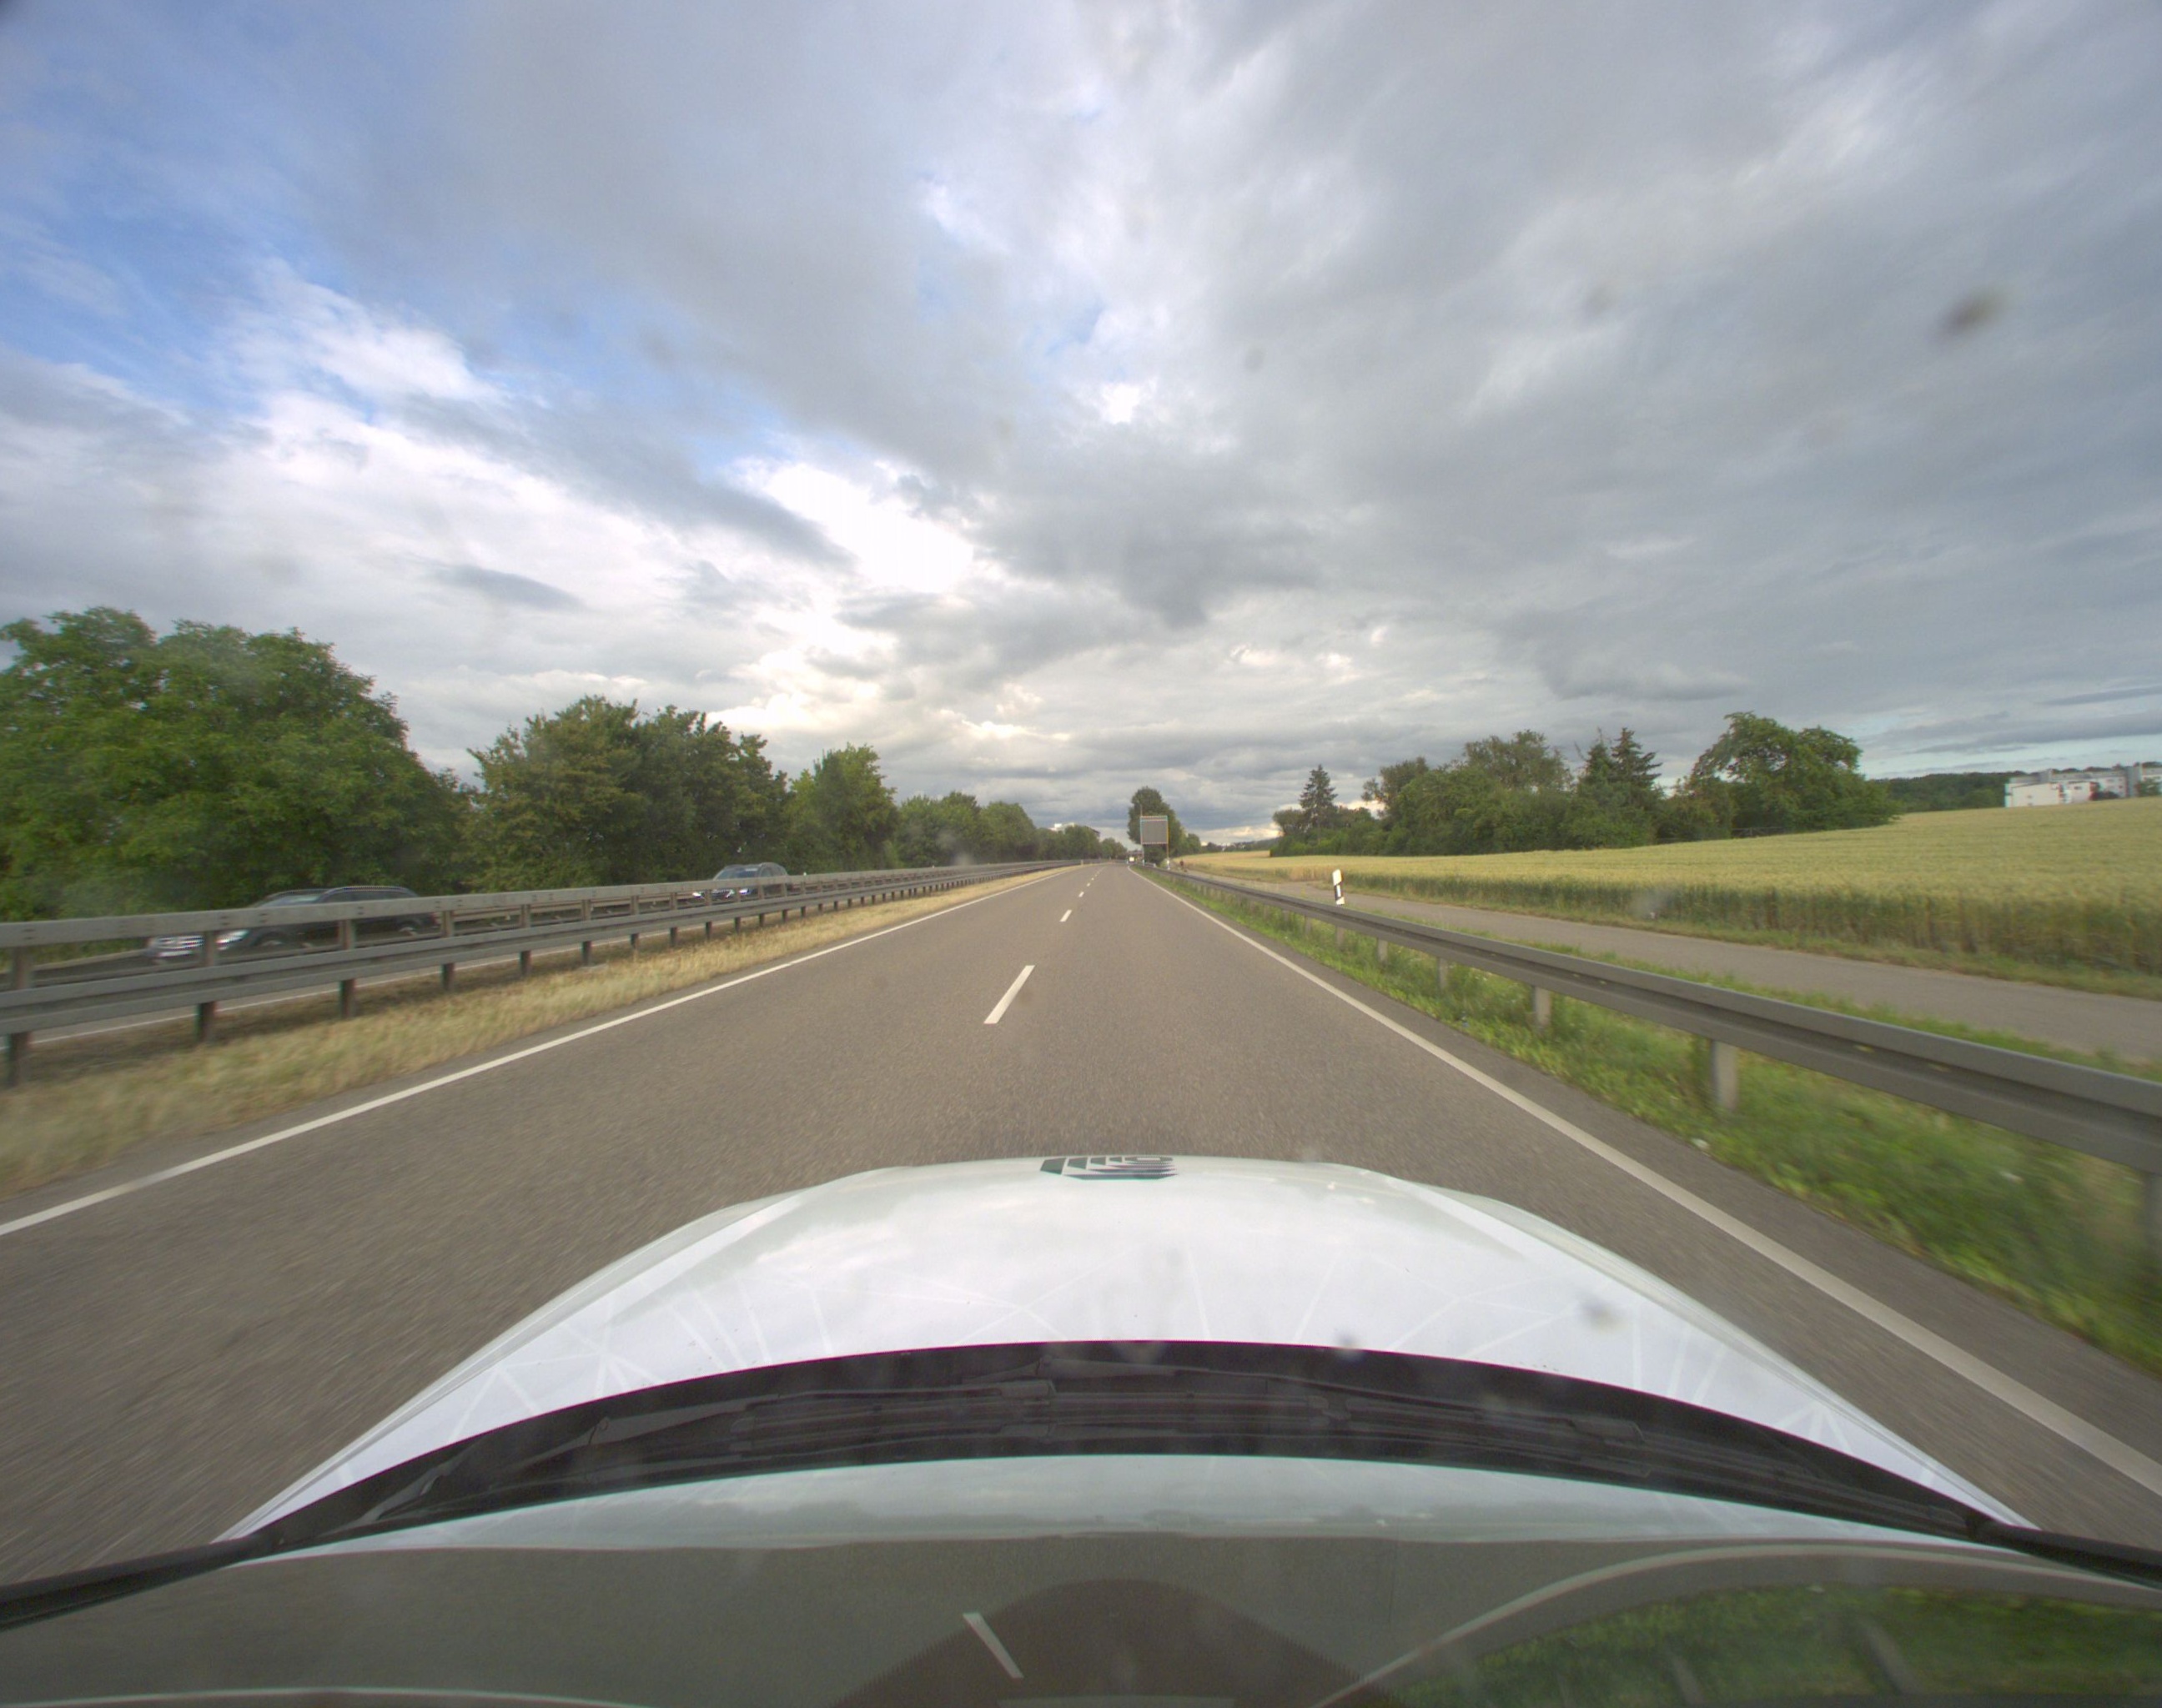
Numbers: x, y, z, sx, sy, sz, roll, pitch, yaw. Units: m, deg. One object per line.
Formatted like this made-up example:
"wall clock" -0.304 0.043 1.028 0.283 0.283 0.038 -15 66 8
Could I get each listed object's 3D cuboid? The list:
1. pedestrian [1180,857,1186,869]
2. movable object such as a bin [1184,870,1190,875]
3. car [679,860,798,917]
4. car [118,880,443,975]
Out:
"pedestrian" 15.046 1.324 119.770 0.768 1.868 0.940 0 -1 2
"movable object such as a bin" 13.892 2.429 106.583 0.729 0.645 1.236 0 -1 2
"car" -10.813 1.034 26.098 1.791 1.614 4.377 -2 -1 2
"car" -15.318 1.323 16.040 1.900 1.478 4.463 -1 0 2
